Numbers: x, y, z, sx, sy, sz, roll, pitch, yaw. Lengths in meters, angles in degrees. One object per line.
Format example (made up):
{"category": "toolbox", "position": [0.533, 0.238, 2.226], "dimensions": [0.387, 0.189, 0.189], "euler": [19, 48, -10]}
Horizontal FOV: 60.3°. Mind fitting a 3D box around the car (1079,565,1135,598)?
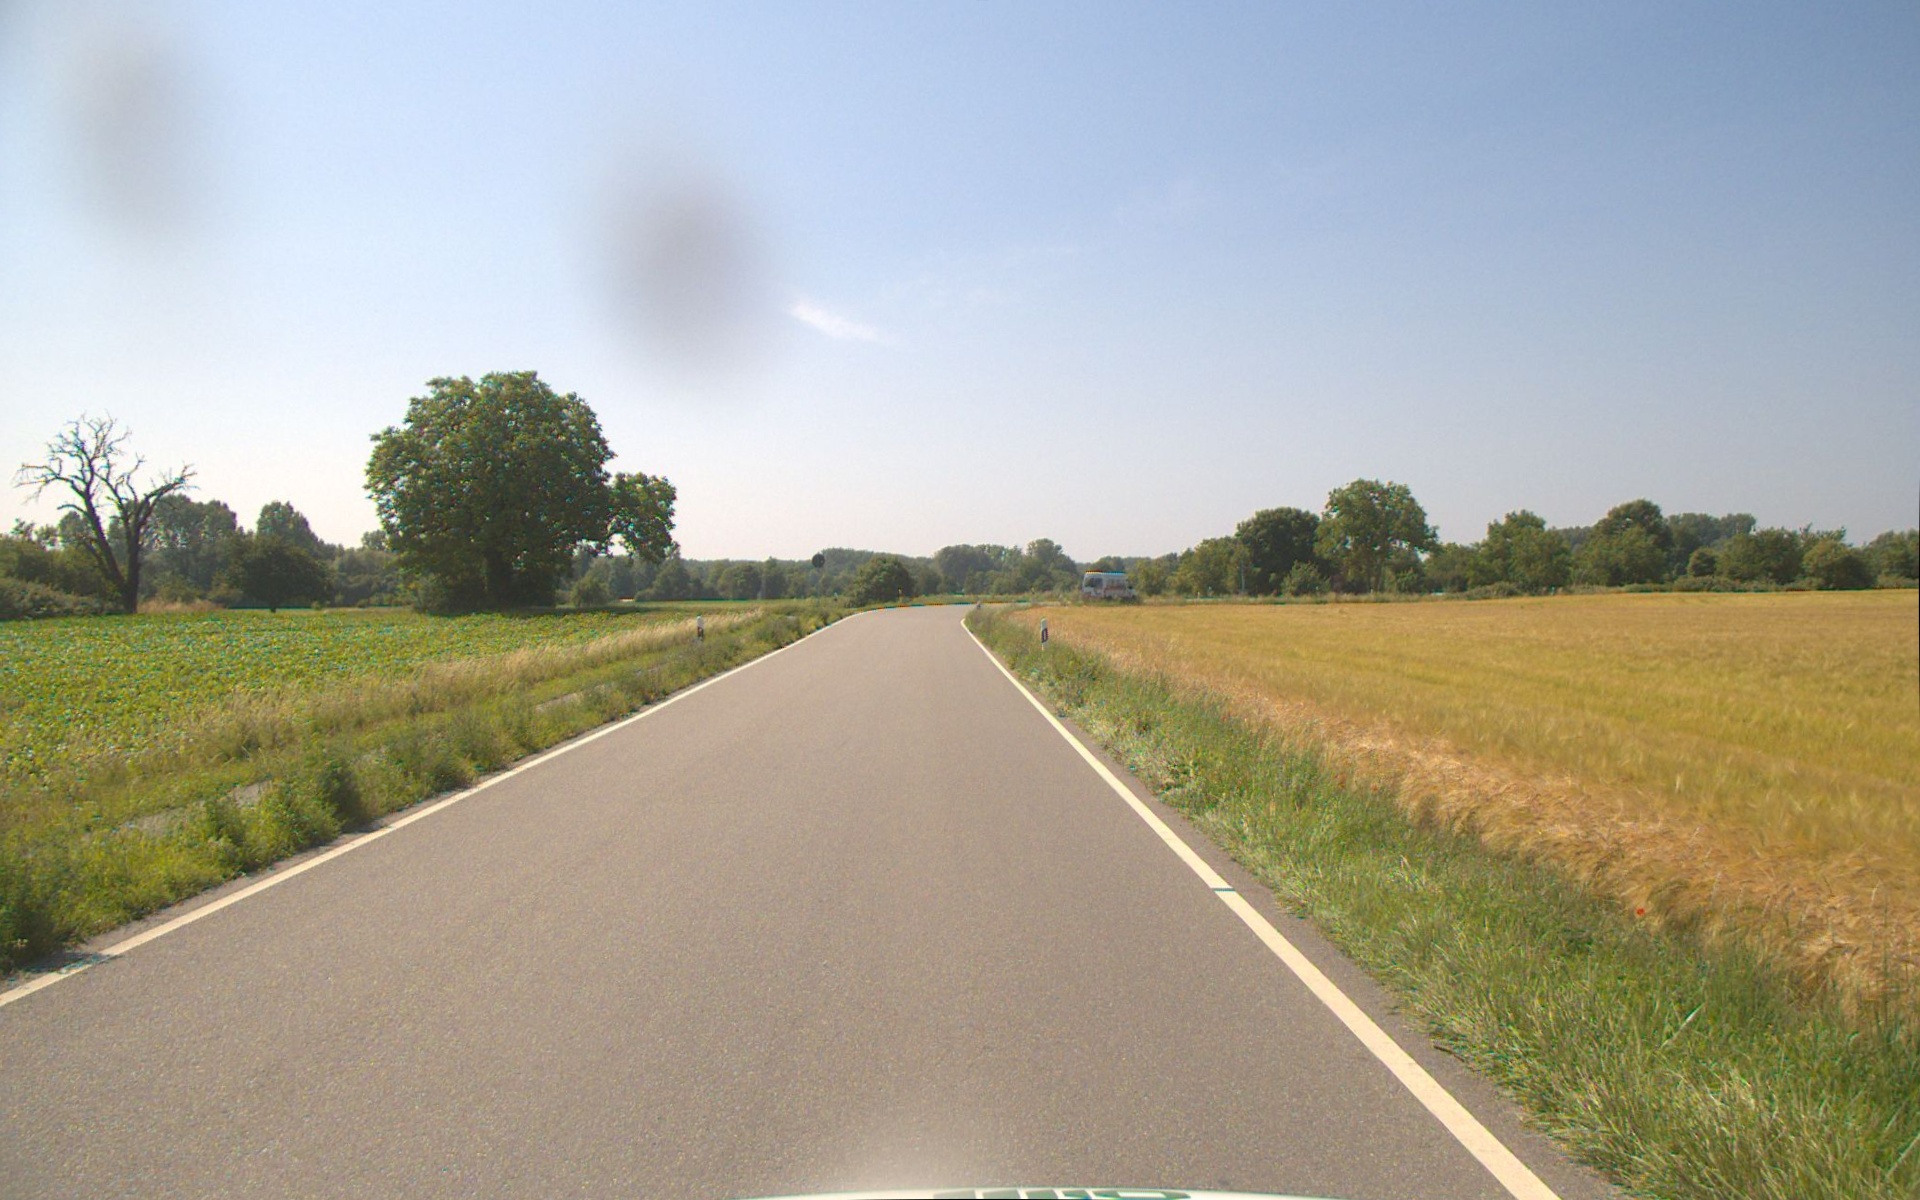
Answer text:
{"category": "car", "position": [11.445, -1.441, 128.452], "dimensions": [2.065, 2.408, 5.675], "euler": [-1, 1, 31]}
